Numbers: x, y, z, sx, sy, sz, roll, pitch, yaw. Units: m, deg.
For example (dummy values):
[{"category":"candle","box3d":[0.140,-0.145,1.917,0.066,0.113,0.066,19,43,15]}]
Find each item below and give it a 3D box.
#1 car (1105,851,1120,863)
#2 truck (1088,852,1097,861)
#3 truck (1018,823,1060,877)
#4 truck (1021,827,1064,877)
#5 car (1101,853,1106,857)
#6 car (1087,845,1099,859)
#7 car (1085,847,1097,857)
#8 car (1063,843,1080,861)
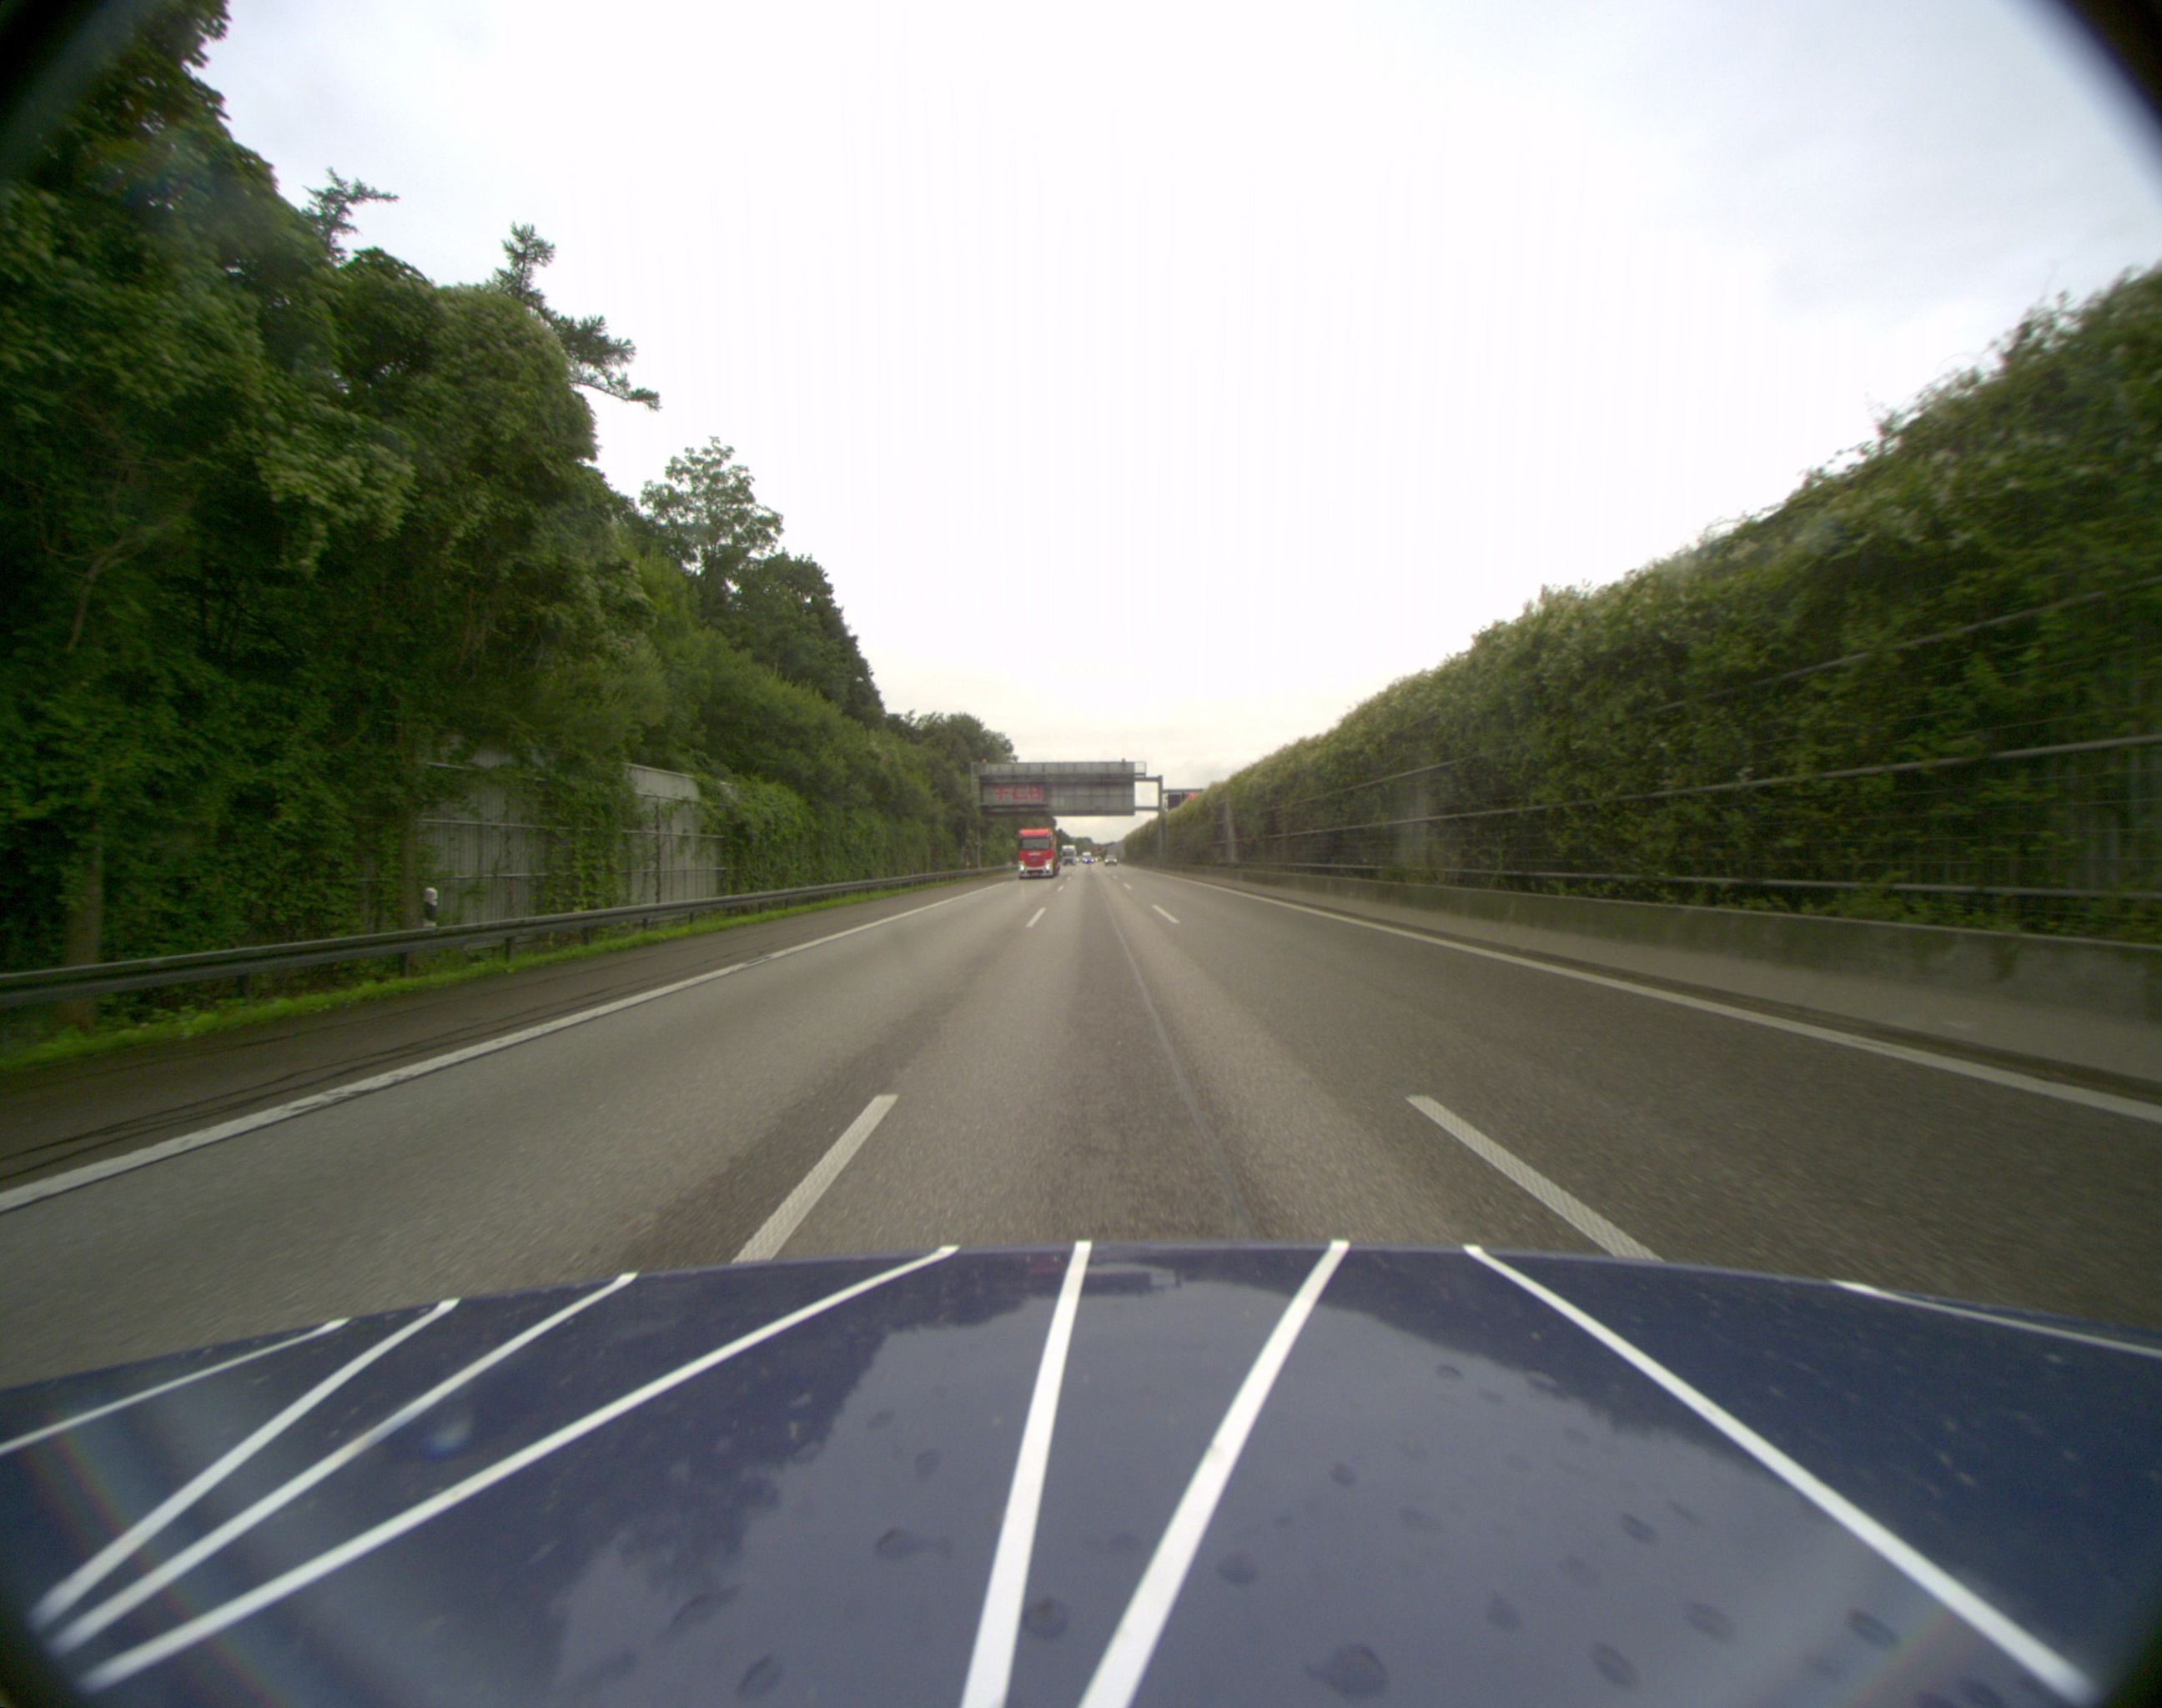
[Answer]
[{"category":"car","box3d":[5.019,0.429,121.171,2.023,1.595,5.438,-4,1,0]},{"category":"truck","box3d":[2.528,0.535,161.745,1.825,1.535,3.999,-3,2,1]},{"category":"truck","box3d":[-3.089,-0.292,57.163,2.708,3.808,4.199,-2,0,2]},{"category":"truck","box3d":[-3.010,-0.307,62.220,2.708,3.691,9.839,-2,2,1]},{"category":"car","box3d":[7.448,0.262,254.327,1.751,1.368,4.000,-1,0,1]},{"category":"car","box3d":[3.316,-0.636,208.941,3.039,3.571,6.733,-2,1,1]},{"category":"car","box3d":[2.410,-0.422,180.316,2.769,2.227,6.546,-2,1,1]},{"category":"car","box3d":[-1.825,-0.446,148.318,3.039,3.278,6.733,-2,1,1]}]
